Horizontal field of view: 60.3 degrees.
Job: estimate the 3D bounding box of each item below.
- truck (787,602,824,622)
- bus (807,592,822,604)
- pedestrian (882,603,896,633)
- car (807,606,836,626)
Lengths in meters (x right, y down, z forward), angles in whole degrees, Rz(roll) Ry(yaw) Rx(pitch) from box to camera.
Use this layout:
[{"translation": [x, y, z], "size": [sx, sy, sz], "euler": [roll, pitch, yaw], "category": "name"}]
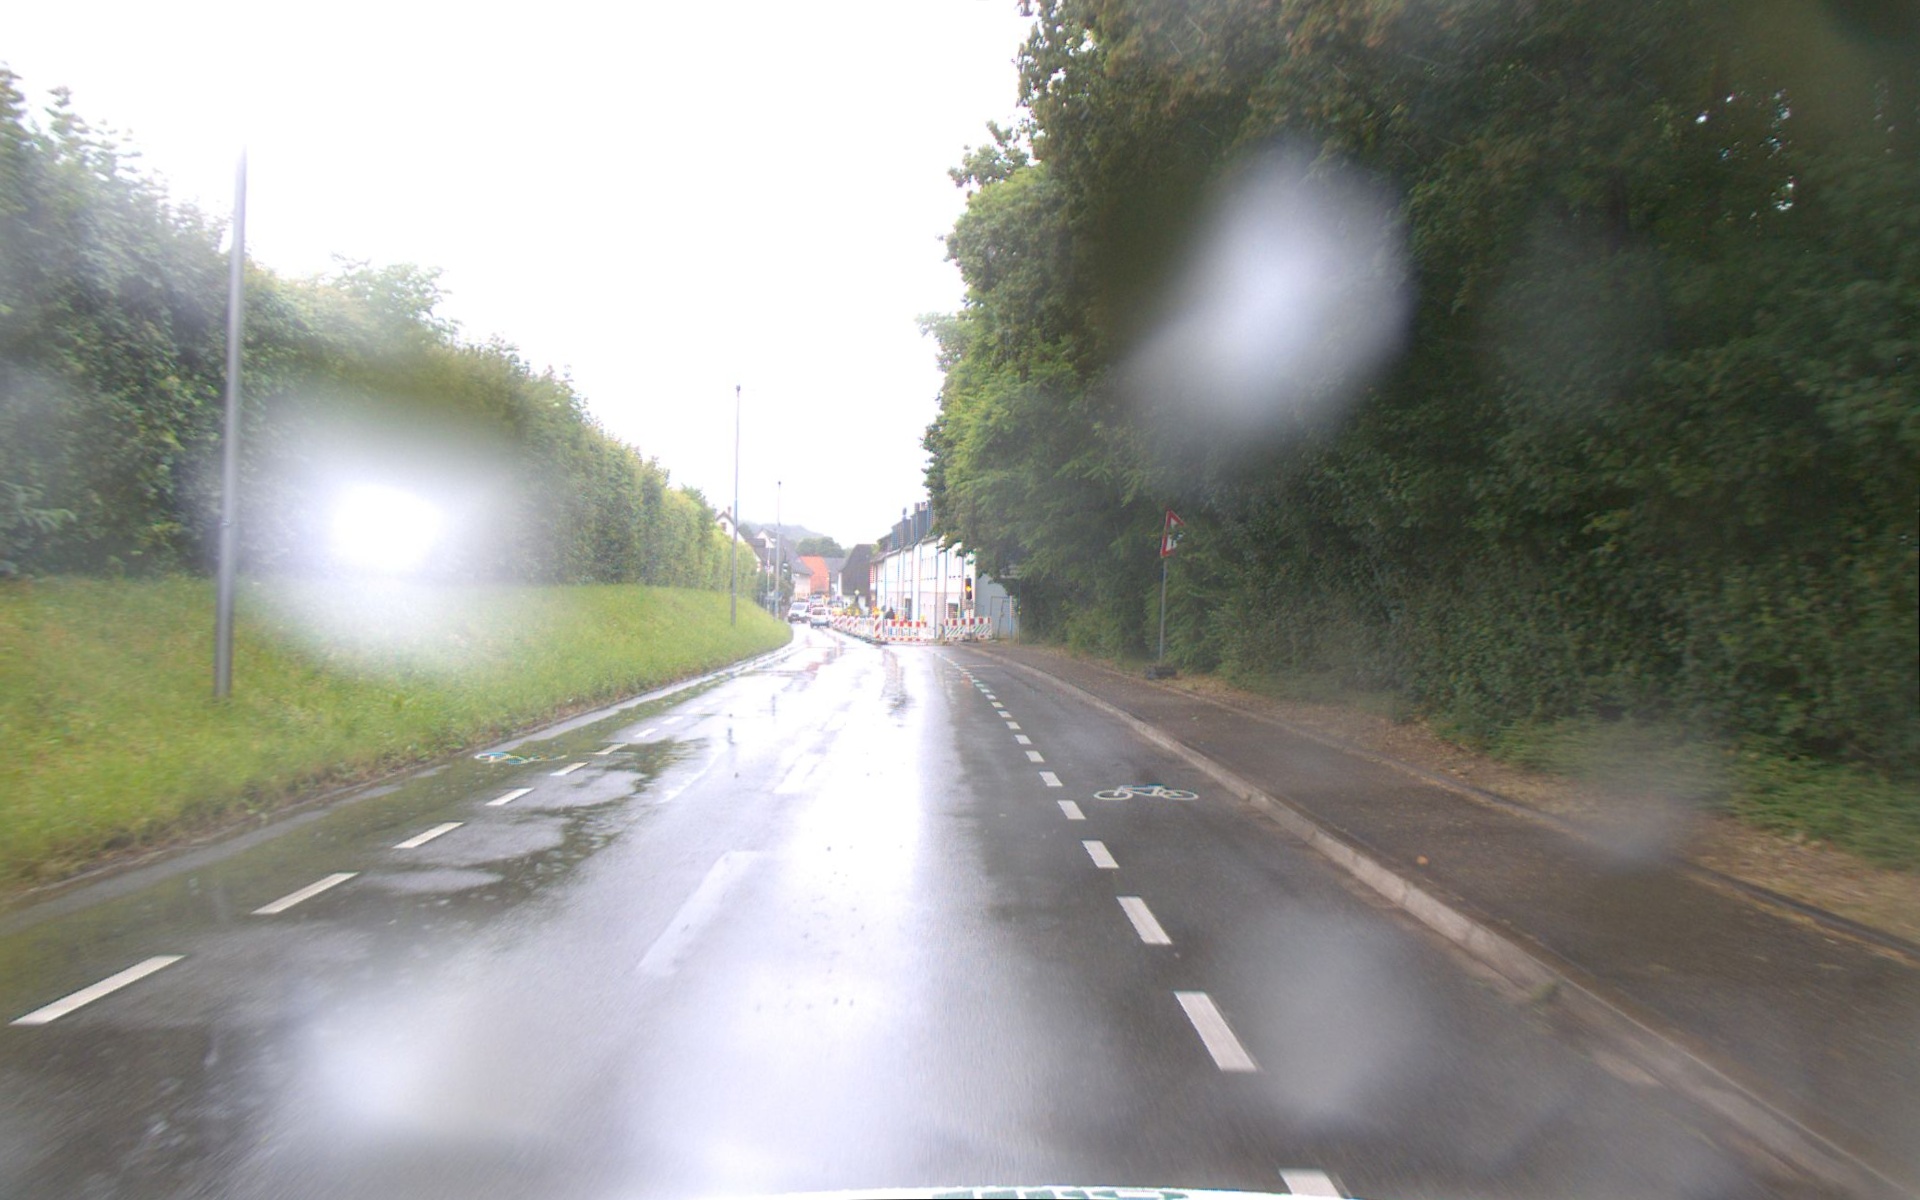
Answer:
[{"translation": [-17.089, 1.297, 183.113], "size": [1.953, 2.048, 4.904], "euler": [3, 1, 21], "category": "truck"}, {"translation": [-19.149, -0.297, 217.615], "size": [1.759, 1.434, 3.997], "euler": [2, 1, -4], "category": "bus"}, {"translation": [-4.248, 1.090, 99.390], "size": [0.654, 1.786, 0.809], "euler": [2, 0, -12], "category": "pedestrian"}, {"translation": [-12.794, 1.470, 153.153], "size": [1.953, 1.638, 4.001], "euler": [7, 0, 2], "category": "car"}]
